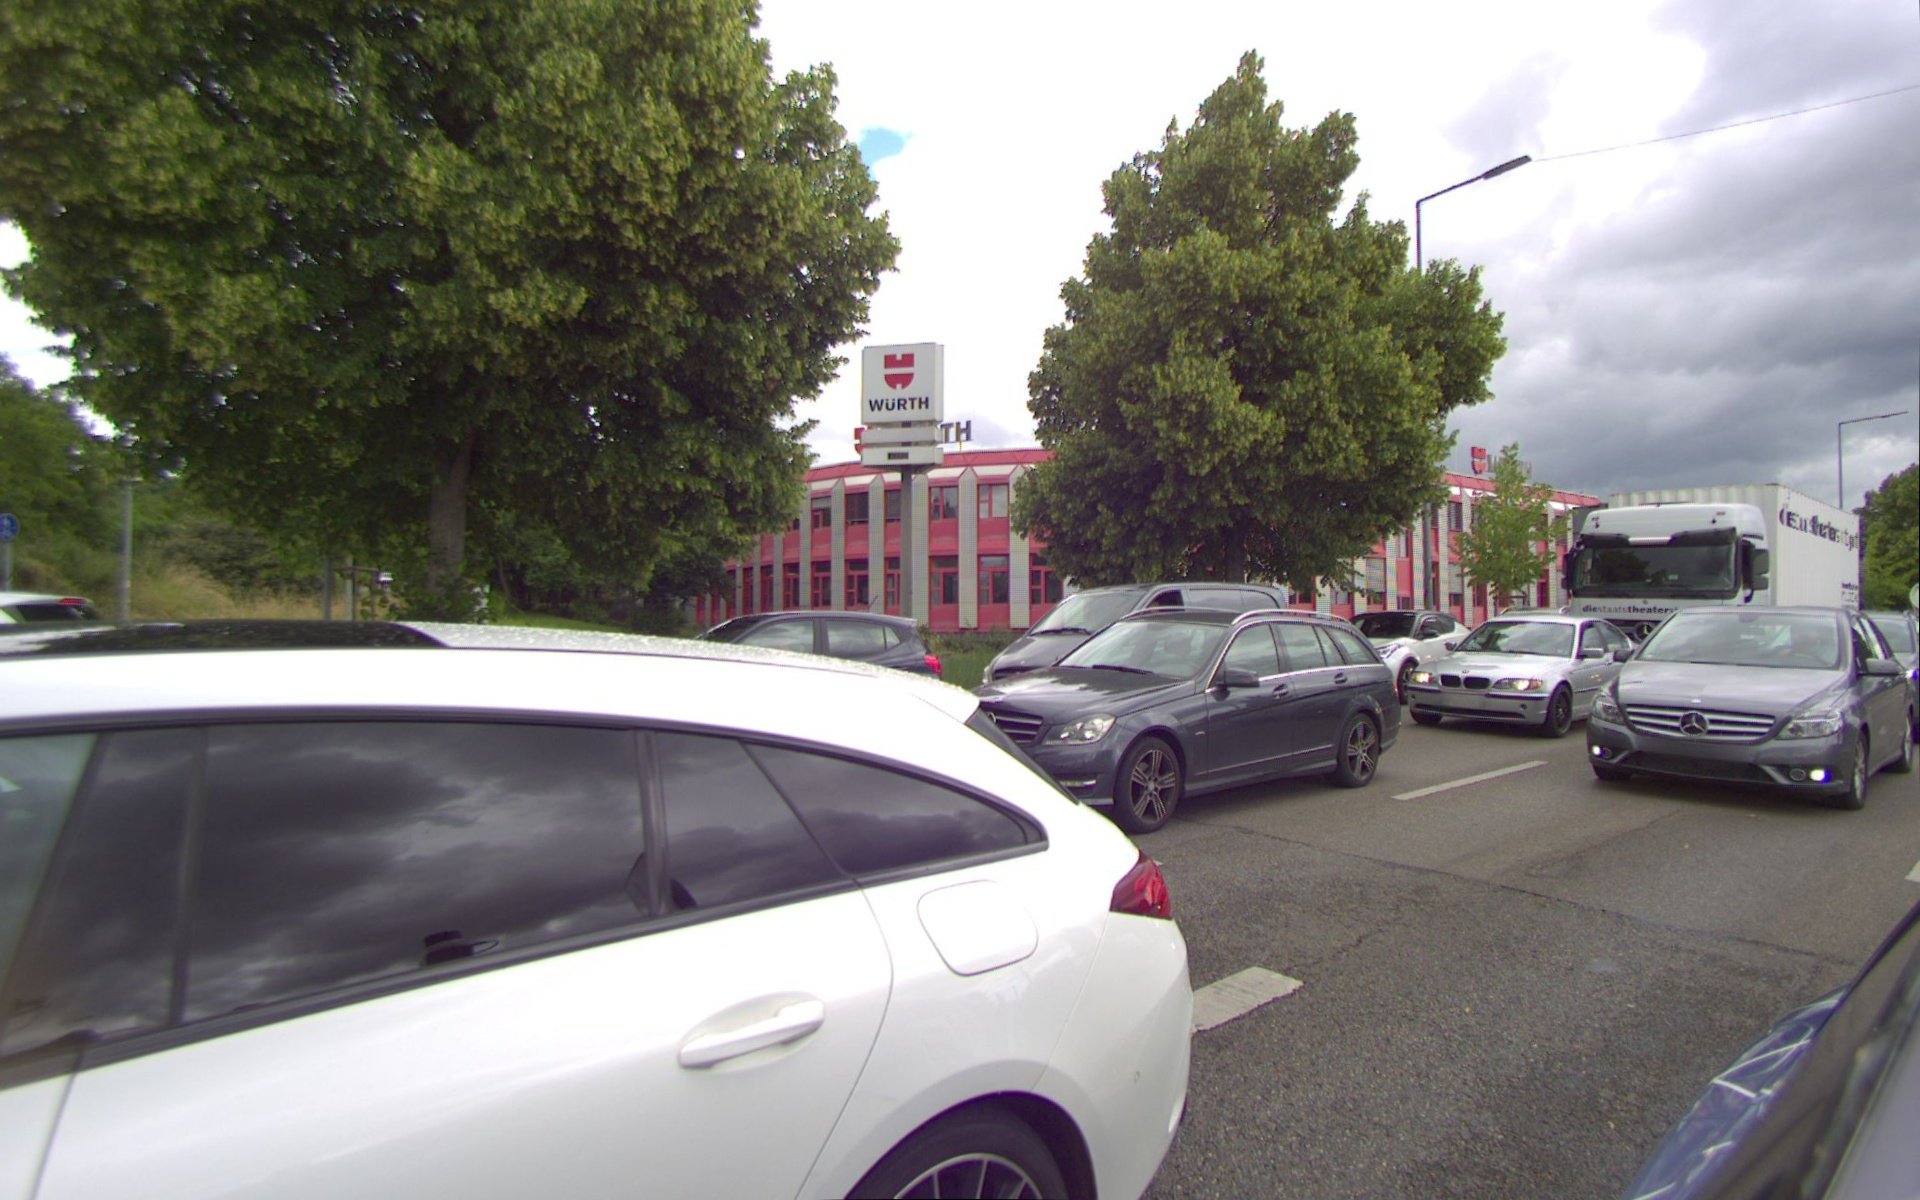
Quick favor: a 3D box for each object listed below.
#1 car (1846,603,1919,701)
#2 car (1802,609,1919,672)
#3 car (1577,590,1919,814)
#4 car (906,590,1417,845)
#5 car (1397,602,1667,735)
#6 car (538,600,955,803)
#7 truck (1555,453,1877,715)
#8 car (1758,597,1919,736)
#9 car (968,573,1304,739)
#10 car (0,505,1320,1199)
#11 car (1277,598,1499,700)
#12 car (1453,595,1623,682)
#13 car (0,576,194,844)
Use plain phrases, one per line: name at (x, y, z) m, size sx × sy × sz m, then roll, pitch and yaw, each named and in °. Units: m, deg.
car at (16.268, 0.838, 16.790) m, size 3.431 × 1.525 × 1.825 m, roll 1°, pitch -1°, yaw -39°
car at (24.407, 1.050, 27.375) m, size 4.299 × 1.549 × 1.850 m, roll 1°, pitch -1°, yaw -41°
car at (7.088, 0.720, 8.877) m, size 3.976 × 1.527 × 1.749 m, roll 1°, pitch -1°, yaw -41°
car at (1.795, 0.712, 8.064) m, size 4.279 × 1.504 × 1.749 m, roll 1°, pitch -1°, yaw -41°
car at (7.533, 0.751, 13.152) m, size 4.215 × 1.400 × 1.749 m, roll -1°, pitch 1°, yaw -41°
car at (-1.943, 0.791, 9.510) m, size 3.495 × 1.525 × 1.608 m, roll -1°, pitch 0°, yaw -34°
truck at (14.968, -0.233, 19.580) m, size 10.000 × 3.953 × 2.808 m, roll 0°, pitch 0°, yaw -40°
car at (11.534, 0.755, 12.768) m, size 3.769 × 1.512 × 1.627 m, roll 1°, pitch -1°, yaw -41°
car at (2.419, 0.580, 13.165) m, size 4.592 × 1.797 × 1.762 m, roll -1°, pitch 0°, yaw -40°
car at (-1.484, 0.679, 1.526) m, size 4.451 × 1.525 × 1.848 m, roll -1°, pitch 1°, yaw -40°
car at (7.399, 0.792, 17.332) m, size 4.034 × 1.536 × 1.842 m, roll 0°, pitch -4°, yaw -41°
car at (12.383, 0.796, 21.591) m, size 4.133 × 1.679 × 1.863 m, roll 1°, pitch -3°, yaw -41°
car at (-7.899, 0.700, 6.598) m, size 4.278 × 1.676 × 1.767 m, roll 0°, pitch -1°, yaw -20°
